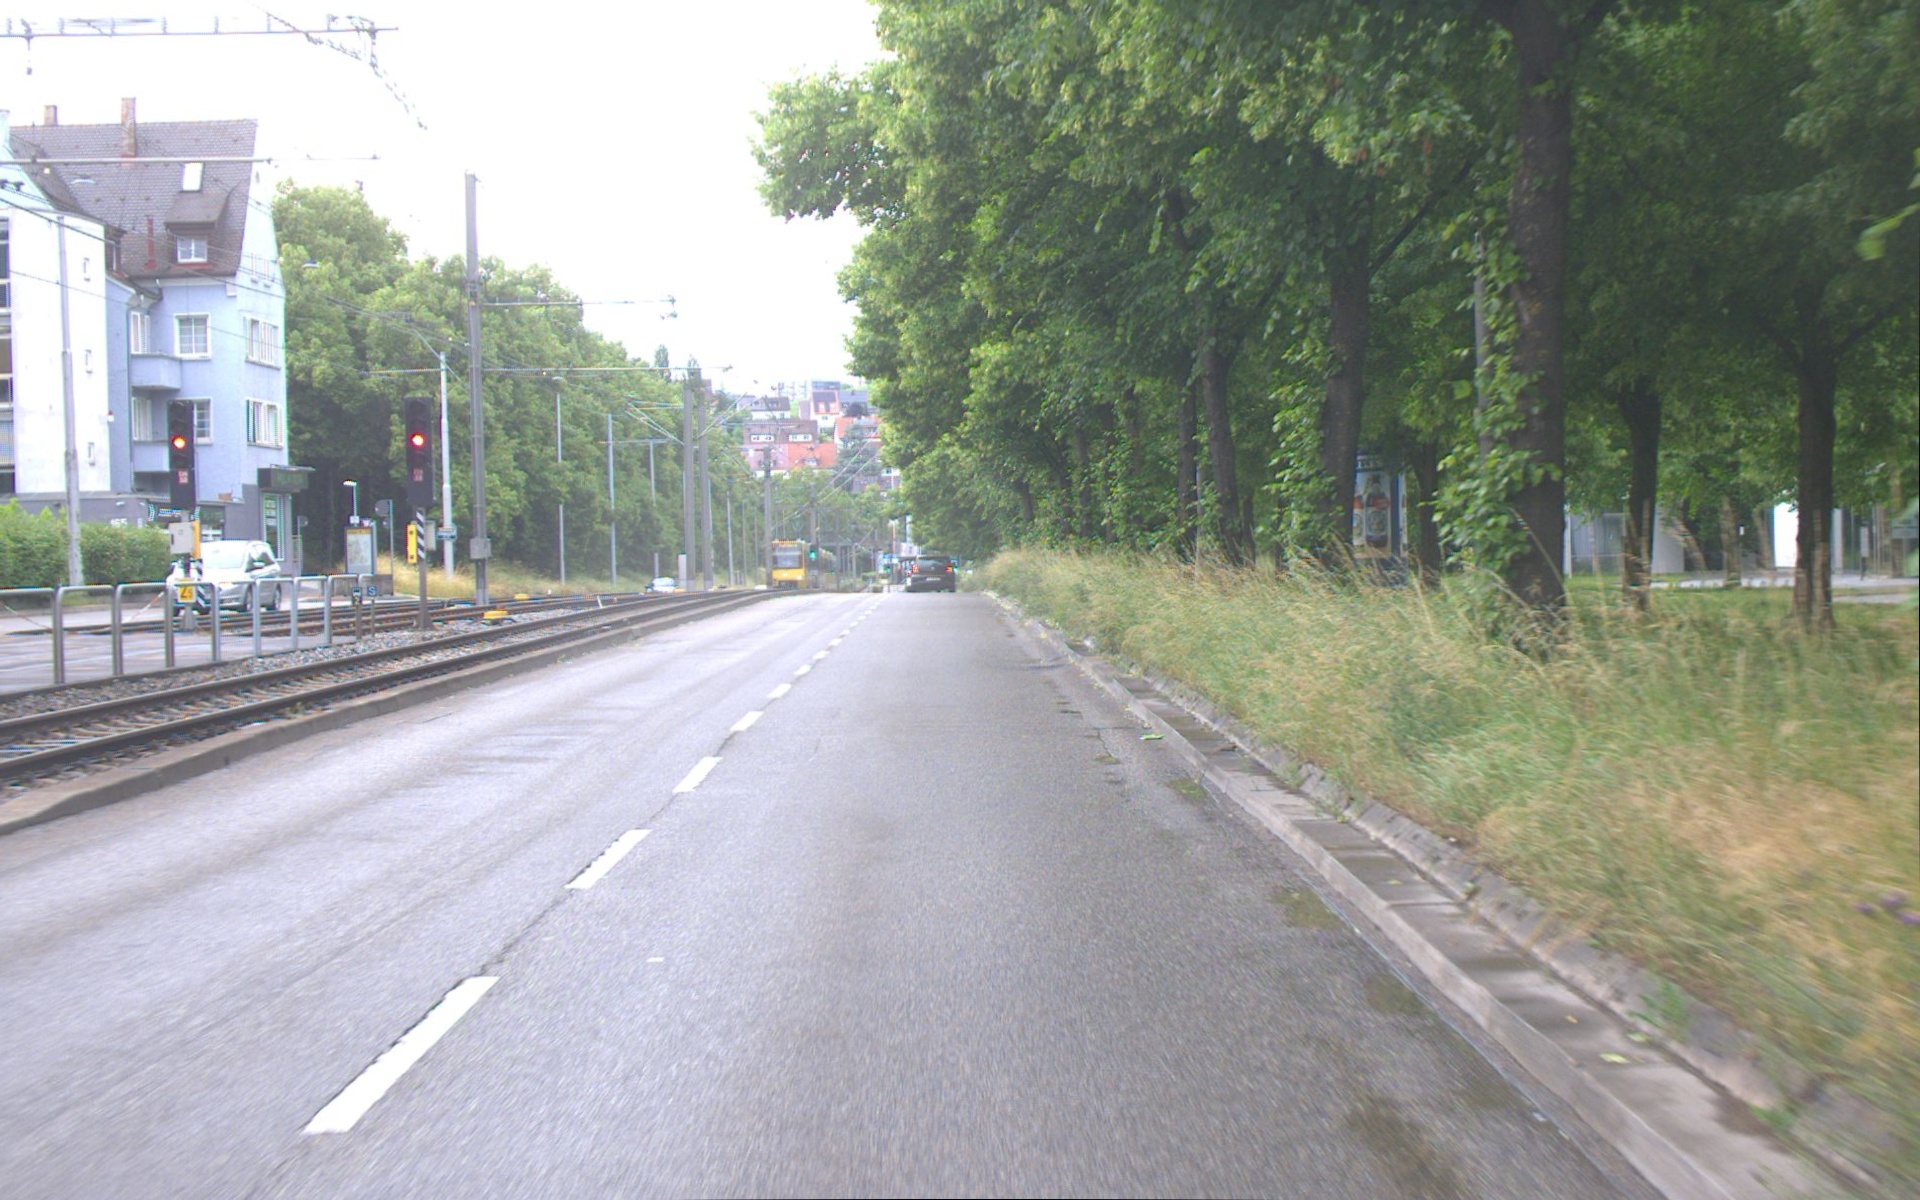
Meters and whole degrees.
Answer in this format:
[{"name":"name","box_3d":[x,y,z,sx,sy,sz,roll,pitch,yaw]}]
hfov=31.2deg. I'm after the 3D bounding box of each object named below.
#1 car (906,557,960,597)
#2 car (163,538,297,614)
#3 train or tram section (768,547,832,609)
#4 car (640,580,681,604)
[{"name":"car","box_3d":[-0.995,-0.857,128.752,1.982,1.436,4.474,-1,0,0]},{"name":"car","box_3d":[-16.570,-0.540,78.231,1.902,1.639,4.884,-1,0,1]},{"name":"train or tram section","box_3d":[-10.460,-1.398,226.498,3.214,3.783,14.788,-1,-1,1]},{"name":"car","box_3d":[-17.716,-0.485,203.493,1.902,1.320,4.825,-1,-1,1]}]
